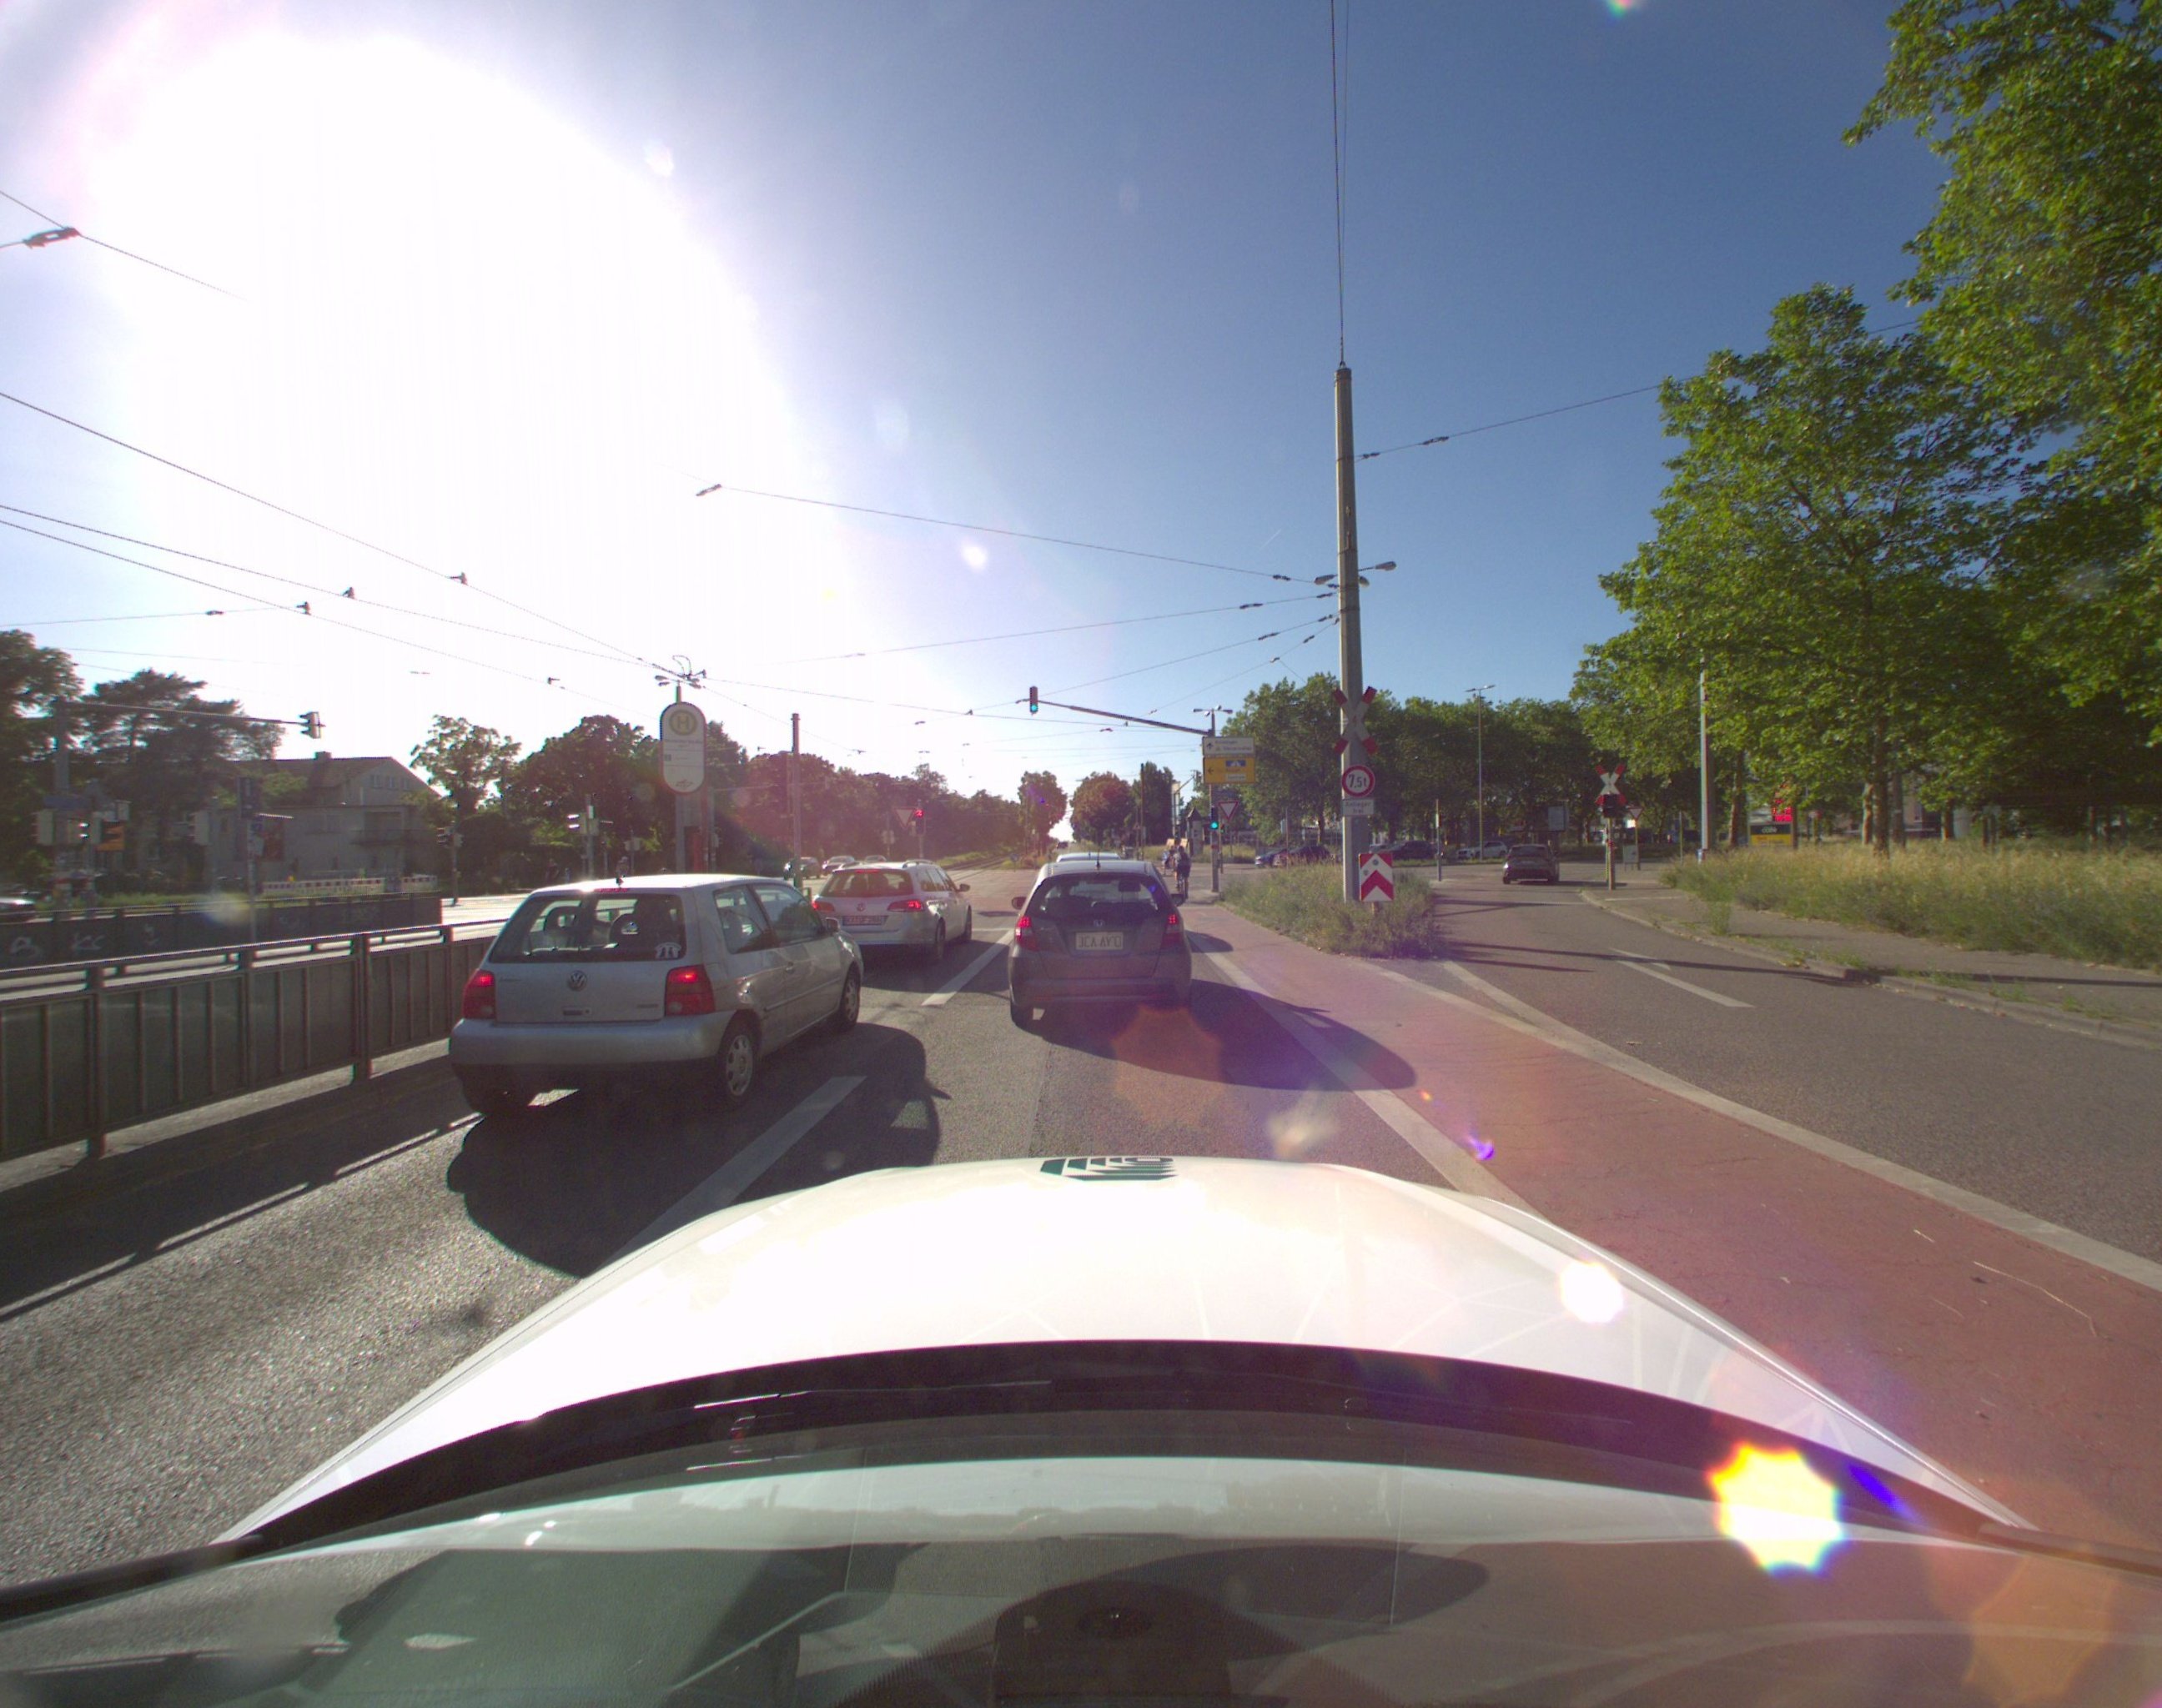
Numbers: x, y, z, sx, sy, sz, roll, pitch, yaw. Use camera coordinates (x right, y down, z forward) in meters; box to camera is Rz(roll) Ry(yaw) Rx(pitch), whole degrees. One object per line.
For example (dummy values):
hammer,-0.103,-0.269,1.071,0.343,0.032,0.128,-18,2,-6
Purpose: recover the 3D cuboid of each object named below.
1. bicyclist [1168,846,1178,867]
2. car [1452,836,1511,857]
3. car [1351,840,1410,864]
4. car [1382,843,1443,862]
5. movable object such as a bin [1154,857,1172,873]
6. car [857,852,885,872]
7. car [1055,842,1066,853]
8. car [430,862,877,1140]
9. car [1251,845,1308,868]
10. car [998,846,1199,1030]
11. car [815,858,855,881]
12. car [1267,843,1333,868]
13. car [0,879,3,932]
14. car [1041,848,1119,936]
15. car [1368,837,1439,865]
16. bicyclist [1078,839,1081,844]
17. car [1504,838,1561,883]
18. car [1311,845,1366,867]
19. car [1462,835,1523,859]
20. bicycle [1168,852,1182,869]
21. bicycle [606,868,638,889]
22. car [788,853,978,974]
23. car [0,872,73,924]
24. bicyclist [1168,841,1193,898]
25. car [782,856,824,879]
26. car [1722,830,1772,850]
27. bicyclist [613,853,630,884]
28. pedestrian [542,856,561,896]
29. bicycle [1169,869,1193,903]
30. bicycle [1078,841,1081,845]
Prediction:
bicyclist,6.099,0.157,53.999,0.509,1.340,0.563,-2,0,-9
car,33.349,-0.595,67.857,4.785,1.682,1.892,0,-1,-26
car,21.655,-0.118,58.913,3.864,1.600,1.700,-2,0,-23
car,26.377,-0.136,64.820,4.579,1.408,1.918,-2,0,-26
movable object such as a bin,5.586,0.752,55.661,0.908,1.068,1.313,-1,0,-7
car,-18.788,0.670,72.931,1.788,1.687,3.994,-2,0,-5
car,-4.152,-1.299,165.948,1.987,2.014,4.000,-1,0,0
car,-2.811,0.834,6.246,1.576,1.468,3.414,-1,0,0
car,14.585,0.176,59.919,3.869,1.600,1.698,-2,0,-27
car,0.207,0.713,8.756,1.664,1.515,3.675,-2,0,2
car,-19.028,1.155,63.156,1.809,1.596,4.687,-1,0,-3
car,14.987,0.110,55.724,4.095,1.600,1.802,-2,0,-23
car,-32.236,1.510,21.250,4.646,1.477,1.658,-2,0,-27
car,-0.003,0.675,16.011,1.347,1.527,3.123,-2,0,0
car,21.698,-0.196,54.831,4.504,1.711,1.904,-2,0,-27
bicyclist,-0.499,-3.557,232.352,0.815,1.524,0.966,0,-1,0
car,18.494,0.237,33.294,1.803,1.704,3.797,-1,0,32
car,19.709,0.162,62.292,3.869,1.600,1.698,-2,0,-27
car,37.028,-0.621,73.307,5.124,2.070,2.115,-1,0,-23
bicycle,6.156,0.418,53.389,0.466,1.119,1.815,-1,0,-8
bicycle,-24.223,1.293,42.985,0.505,1.042,1.949,-2,0,1
car,-2.896,0.785,12.978,1.871,1.527,4.421,-2,0,0
car,-33.844,1.368,24.317,4.258,1.466,1.921,-1,0,-27
bicyclist,3.013,0.471,24.711,0.612,1.679,0.934,-2,0,3
car,-18.695,0.898,54.899,1.679,1.458,3.701,-2,0,-2
car,59.819,-1.248,73.156,4.008,1.618,1.983,-2,0,-26
bicyclist,-24.241,0.781,42.945,0.487,1.608,0.648,-2,0,1
pedestrian,-25.981,1.080,39.982,0.615,1.948,0.767,-2,0,-43
bicycle,3.036,0.959,24.808,0.522,0.923,2.090,-2,0,2
bicycle,-0.506,-3.194,232.329,0.815,1.048,2.506,0,-1,1
